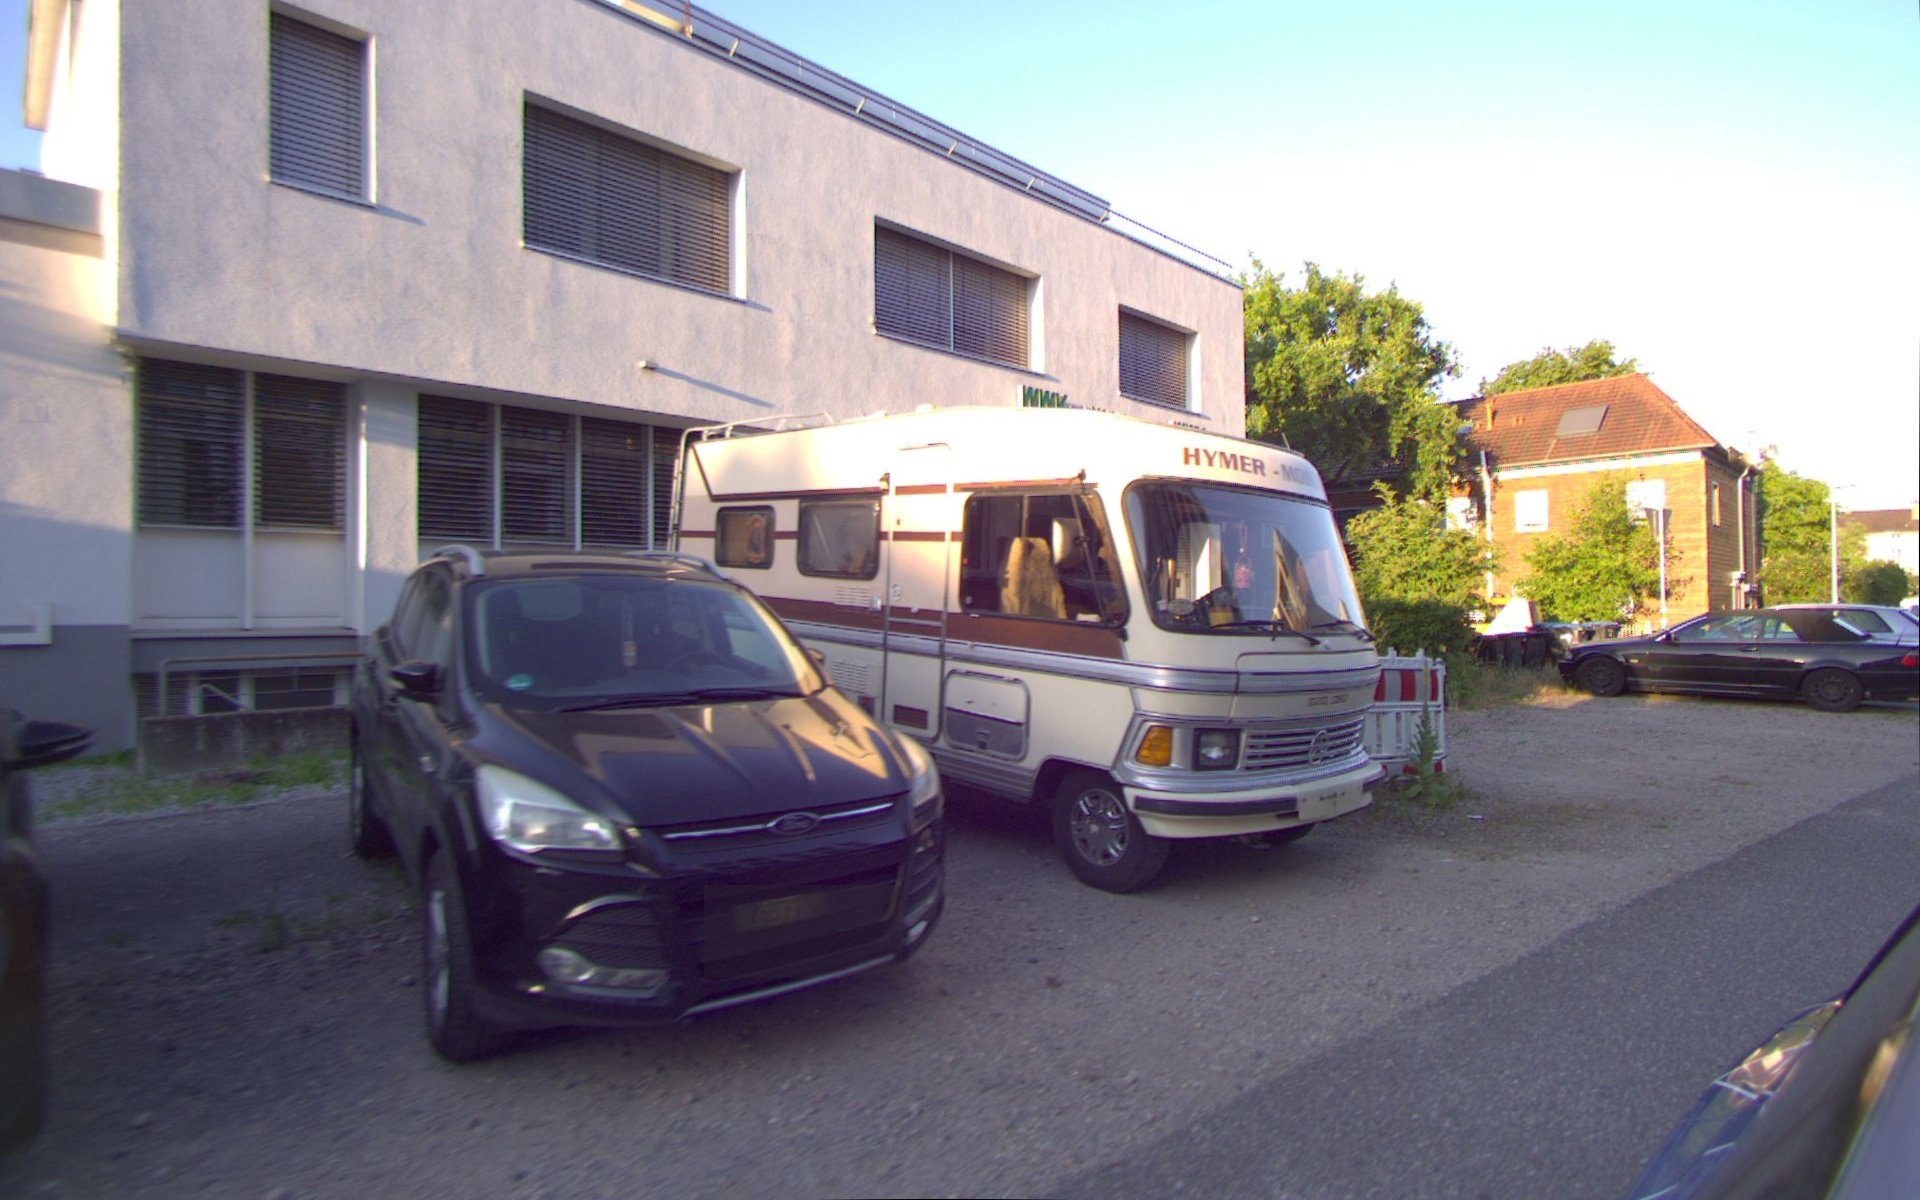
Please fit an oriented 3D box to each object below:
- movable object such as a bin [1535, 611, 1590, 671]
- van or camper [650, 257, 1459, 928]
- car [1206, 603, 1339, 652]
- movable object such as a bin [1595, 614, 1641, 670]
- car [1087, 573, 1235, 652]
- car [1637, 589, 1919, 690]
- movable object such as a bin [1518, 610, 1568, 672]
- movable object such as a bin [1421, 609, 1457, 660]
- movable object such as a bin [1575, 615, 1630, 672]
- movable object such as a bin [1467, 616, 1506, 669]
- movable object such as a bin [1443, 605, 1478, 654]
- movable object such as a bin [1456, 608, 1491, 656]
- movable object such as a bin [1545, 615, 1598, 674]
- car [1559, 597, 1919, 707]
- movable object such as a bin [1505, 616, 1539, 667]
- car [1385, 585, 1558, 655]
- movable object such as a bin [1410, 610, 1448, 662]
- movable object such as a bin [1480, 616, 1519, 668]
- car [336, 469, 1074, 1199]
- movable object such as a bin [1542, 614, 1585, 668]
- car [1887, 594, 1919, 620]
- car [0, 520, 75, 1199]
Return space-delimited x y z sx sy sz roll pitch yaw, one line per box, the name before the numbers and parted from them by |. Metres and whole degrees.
movable object such as a bin | 10.665 0.715 17.916 0.704 1.034 0.701 -1 -1 41
van or camper | 0.151 -0.065 7.366 2.444 2.900 5.789 0 1 -42
car | 9.880 0.869 32.129 3.598 1.474 1.926 -1 -2 45
movable object such as a bin | 12.531 0.793 19.269 0.642 1.034 0.701 -1 -1 41
car | 6.940 0.460 35.322 4.739 2.593 2.063 -1 -2 45
car | 13.461 0.568 16.196 1.864 1.425 4.061 1 0 -42
movable object such as a bin | 10.152 0.704 17.631 0.621 1.034 0.552 -2 -1 44
movable object such as a bin | 9.082 0.650 19.185 0.517 0.943 0.467 0 0 -42
movable object such as a bin | 11.979 0.796 18.869 0.755 1.034 0.701 -1 -1 41
movable object such as a bin | 8.832 0.704 16.971 0.476 0.868 0.389 -2 -2 45
movable object such as a bin | 9.866 0.582 19.959 0.517 0.943 0.467 0 0 -42
movable object such as a bin | 10.316 0.641 20.325 0.517 0.943 0.467 0 0 -42
movable object such as a bin | 11.207 0.799 18.542 0.704 1.034 0.701 -1 -1 41
car | 11.484 0.650 14.849 1.864 1.350 4.320 -1 1 -42
movable object such as a bin | 9.676 0.706 17.420 0.414 0.868 0.389 -2 -2 44
car | 14.061 0.560 27.946 3.941 1.789 1.754 -1 -2 45
movable object such as a bin | 8.660 0.653 18.685 0.517 0.943 0.467 0 0 -42
movable object such as a bin | 9.209 0.707 17.278 0.499 0.868 0.389 -2 -1 45
car | -1.612 0.542 4.722 1.931 1.763 4.254 0 1 -36
movable object such as a bin | 11.800 0.791 19.781 0.642 1.034 0.440 -1 -1 41
car | 56.910 0.395 60.695 4.297 1.481 1.766 0 0 -45
car | -3.892 0.614 3.018 1.684 1.583 4.006 0 0 -44
